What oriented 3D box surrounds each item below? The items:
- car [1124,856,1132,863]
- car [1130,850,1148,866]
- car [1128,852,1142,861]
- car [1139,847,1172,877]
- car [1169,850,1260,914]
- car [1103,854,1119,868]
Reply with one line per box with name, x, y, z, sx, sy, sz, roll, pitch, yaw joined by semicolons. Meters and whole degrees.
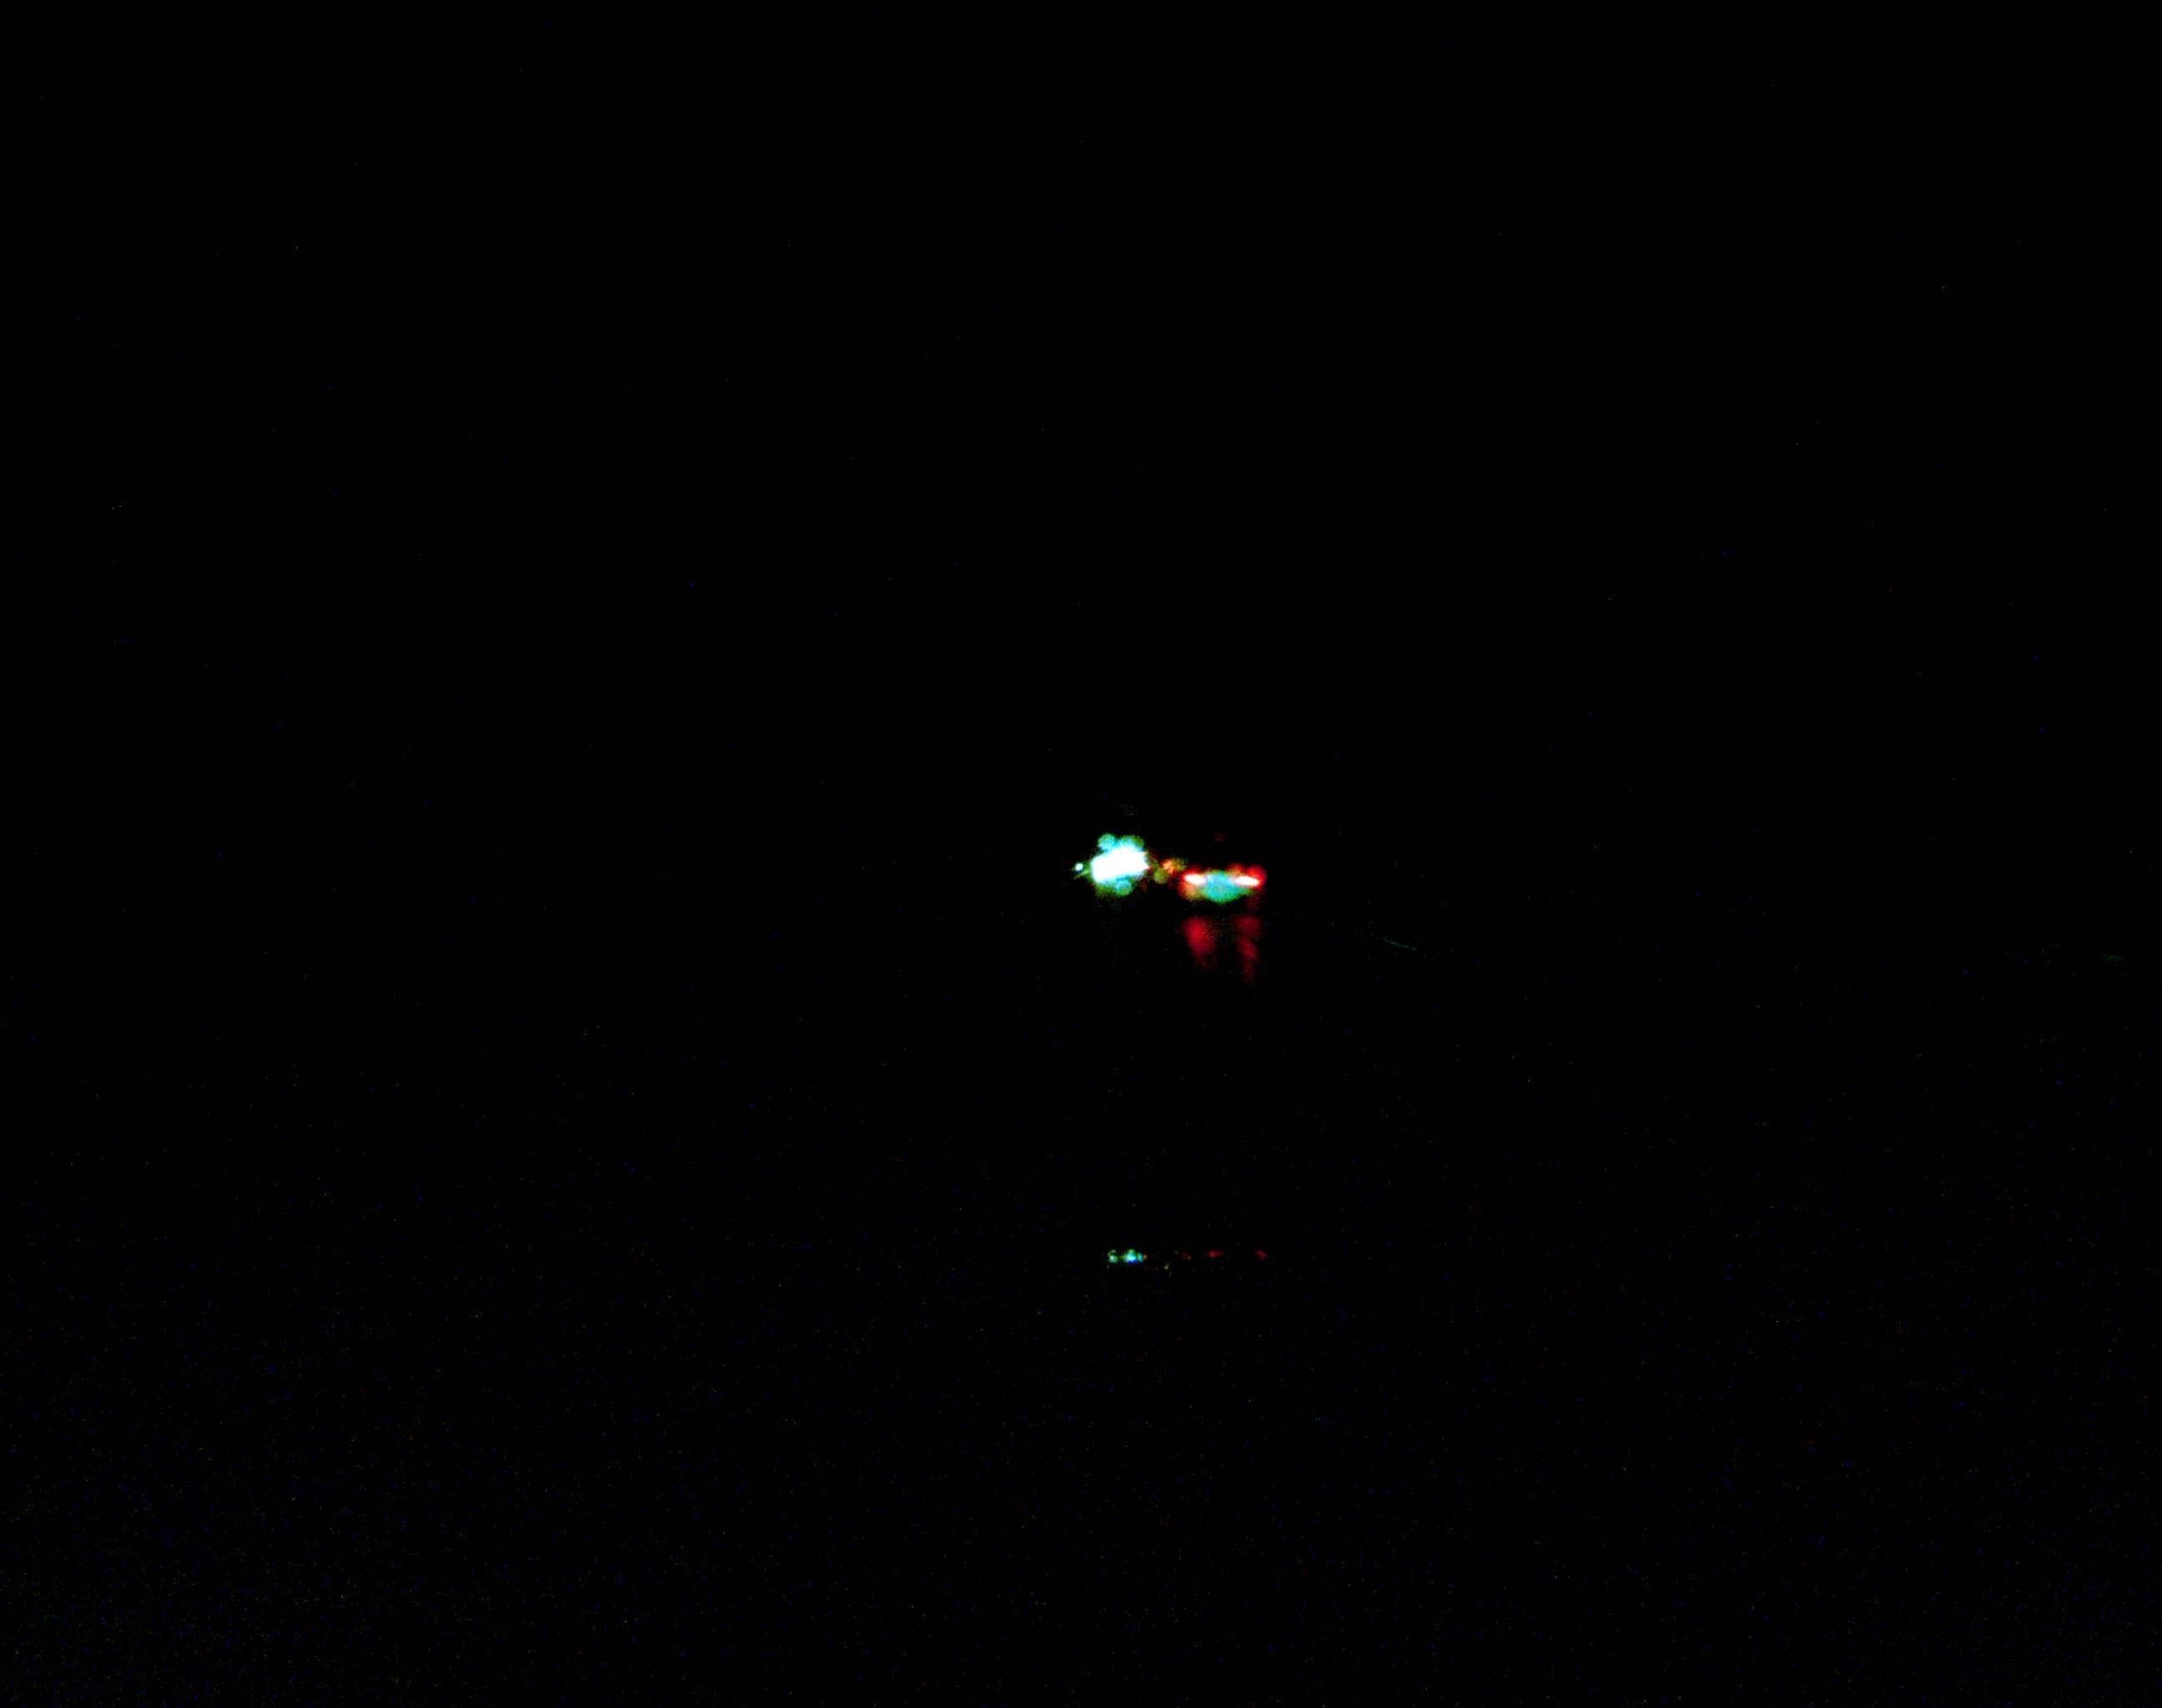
car;10.763;1.225;174.217;1.747;1.623;3.735;-1;0;0
car;6.508;0.407;85.717;1.746;1.749;3.878;-2;0;2
car;8.394;0.343;118.243;1.998;1.385;4.596;-2;0;4
car;4.803;0.473;49.288;1.747;1.812;3.877;-2;0;0
car;3.644;0.711;21.400;1.889;1.567;4.050;-2;0;2
car;3.672;0.792;93.139;1.746;1.623;3.737;-1;0;4
